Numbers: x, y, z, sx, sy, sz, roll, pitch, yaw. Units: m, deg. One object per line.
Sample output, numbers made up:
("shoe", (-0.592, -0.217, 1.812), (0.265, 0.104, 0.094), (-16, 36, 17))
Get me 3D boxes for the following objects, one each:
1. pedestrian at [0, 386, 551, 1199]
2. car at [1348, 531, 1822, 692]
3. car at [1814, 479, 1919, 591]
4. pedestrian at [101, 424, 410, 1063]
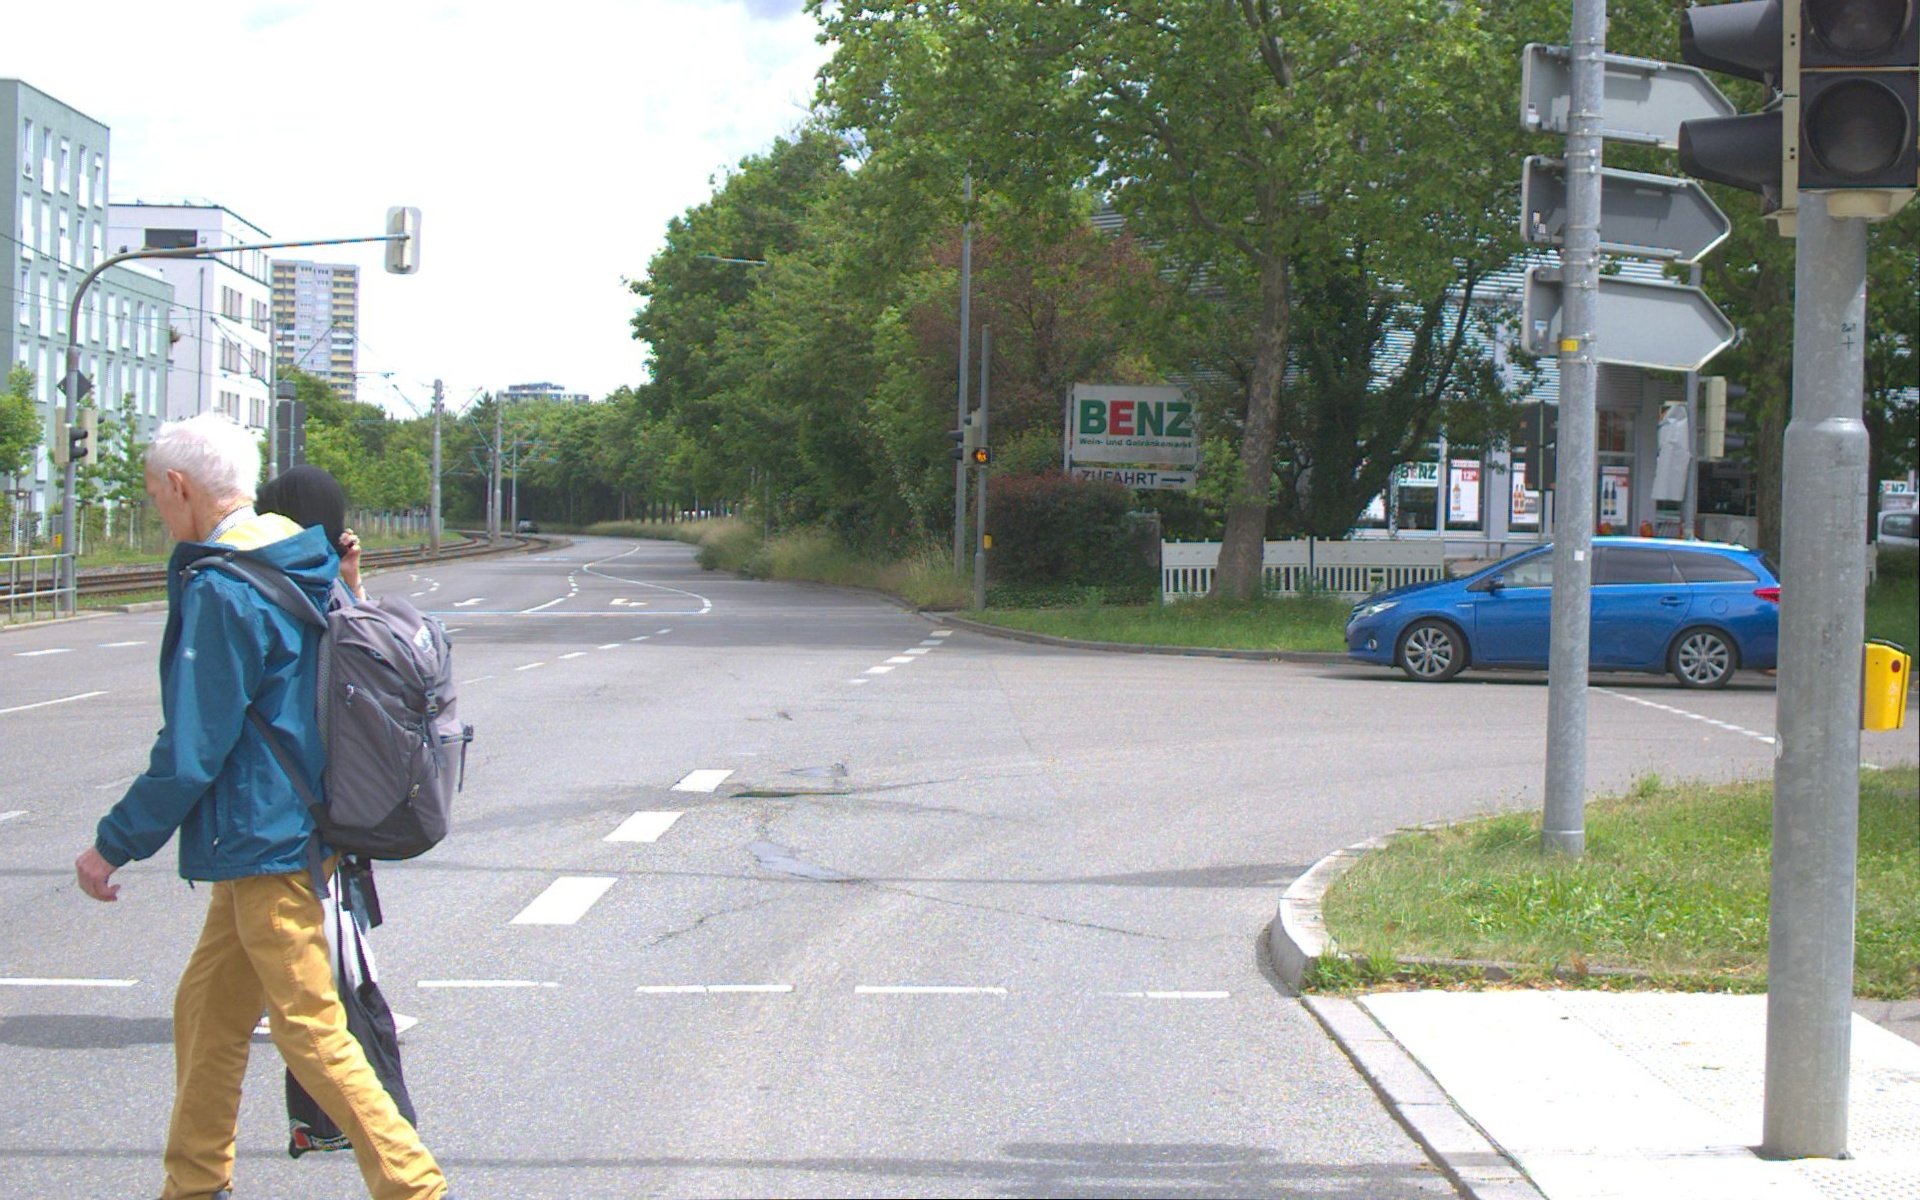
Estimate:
("pedestrian", (-1.391, 0.472, 7.037), (1.009, 1.768, 0.949), (1, 1, -2))
("car", (6.119, 0.081, 34.074), (4.477, 1.481, 1.988), (1, 1, 7))
("car", (17.739, -1.182, 62.560), (1.993, 2.007, 4.000), (0, 2, -32))
("pedestrian", (-1.985, 0.383, 9.780), (0.781, 1.737, 0.828), (0, 1, -6))
